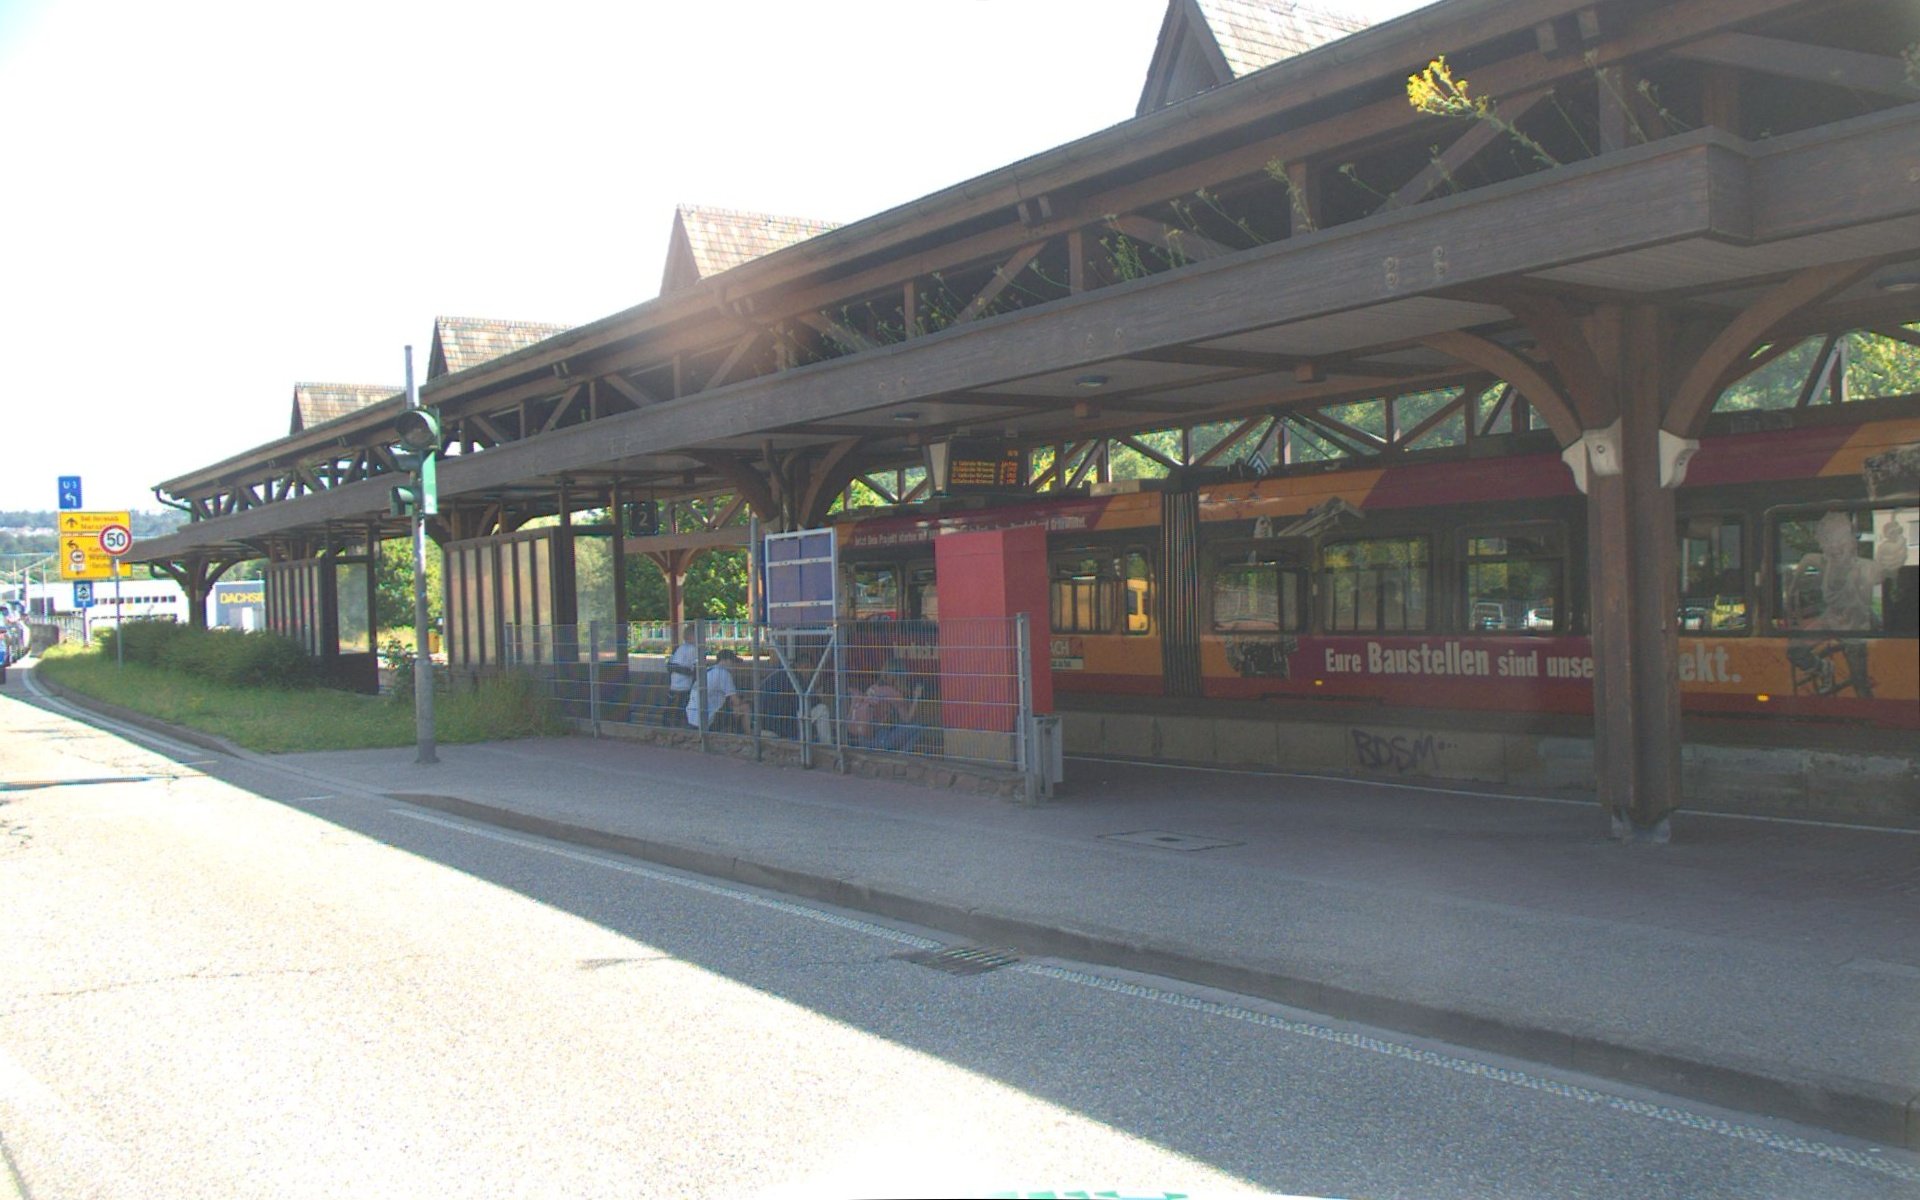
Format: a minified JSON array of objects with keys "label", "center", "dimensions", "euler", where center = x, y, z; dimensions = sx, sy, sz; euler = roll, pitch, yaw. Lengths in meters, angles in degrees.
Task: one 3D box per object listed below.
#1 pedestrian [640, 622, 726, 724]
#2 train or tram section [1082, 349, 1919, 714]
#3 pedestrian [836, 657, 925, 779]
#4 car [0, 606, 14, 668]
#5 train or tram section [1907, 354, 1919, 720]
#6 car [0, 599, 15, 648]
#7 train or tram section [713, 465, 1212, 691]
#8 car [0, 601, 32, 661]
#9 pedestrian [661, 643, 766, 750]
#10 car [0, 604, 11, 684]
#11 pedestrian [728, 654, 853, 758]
[{"label":"pedestrian","center":[-3.198,0.829,19.127],"dimensions":[0.737,1.136,0.658],"euler":[1,0,-40]},{"label":"train or tram section","center":[6.472,-0.533,21.141],"dimensions":[2.765,3.423,11.890],"euler":[1,-2,-36]},{"label":"pedestrian","center":[-0.663,0.977,13.872],"dimensions":[0.613,0.983,0.401],"euler":[1,0,-40]},{"label":"car","center":[-25.925,0.970,43.258],"dimensions":[1.973,1.558,4.554],"euler":[-1,0,-30]},{"label":"train or tram section","center":[14.368,-0.653,10.853],"dimensions":[2.836,3.424,14.155],"euler":[0,-1,-38]},{"label":"car","center":[-35.762,0.836,60.537],"dimensions":[1.973,1.766,3.958],"euler":[1,-1,-31]},{"label":"train or tram section","center":[-0.545,-0.311,30.657],"dimensions":[2.735,3.423,11.891],"euler":[1,-1,-36]},{"label":"car","center":[-28.533,0.883,48.737],"dimensions":[1.973,1.716,4.450],"euler":[1,-1,-30]},{"label":"pedestrian","center":[-2.445,0.938,16.402],"dimensions":[0.737,0.999,0.758],"euler":[1,0,-40]},{"label":"car","center":[-20.580,0.880,33.835],"dimensions":[1.851,1.575,3.954],"euler":[0,0,-33]},{"label":"pedestrian","center":[-1.562,0.960,15.258],"dimensions":[0.839,0.889,0.796],"euler":[1,0,-40]}]
